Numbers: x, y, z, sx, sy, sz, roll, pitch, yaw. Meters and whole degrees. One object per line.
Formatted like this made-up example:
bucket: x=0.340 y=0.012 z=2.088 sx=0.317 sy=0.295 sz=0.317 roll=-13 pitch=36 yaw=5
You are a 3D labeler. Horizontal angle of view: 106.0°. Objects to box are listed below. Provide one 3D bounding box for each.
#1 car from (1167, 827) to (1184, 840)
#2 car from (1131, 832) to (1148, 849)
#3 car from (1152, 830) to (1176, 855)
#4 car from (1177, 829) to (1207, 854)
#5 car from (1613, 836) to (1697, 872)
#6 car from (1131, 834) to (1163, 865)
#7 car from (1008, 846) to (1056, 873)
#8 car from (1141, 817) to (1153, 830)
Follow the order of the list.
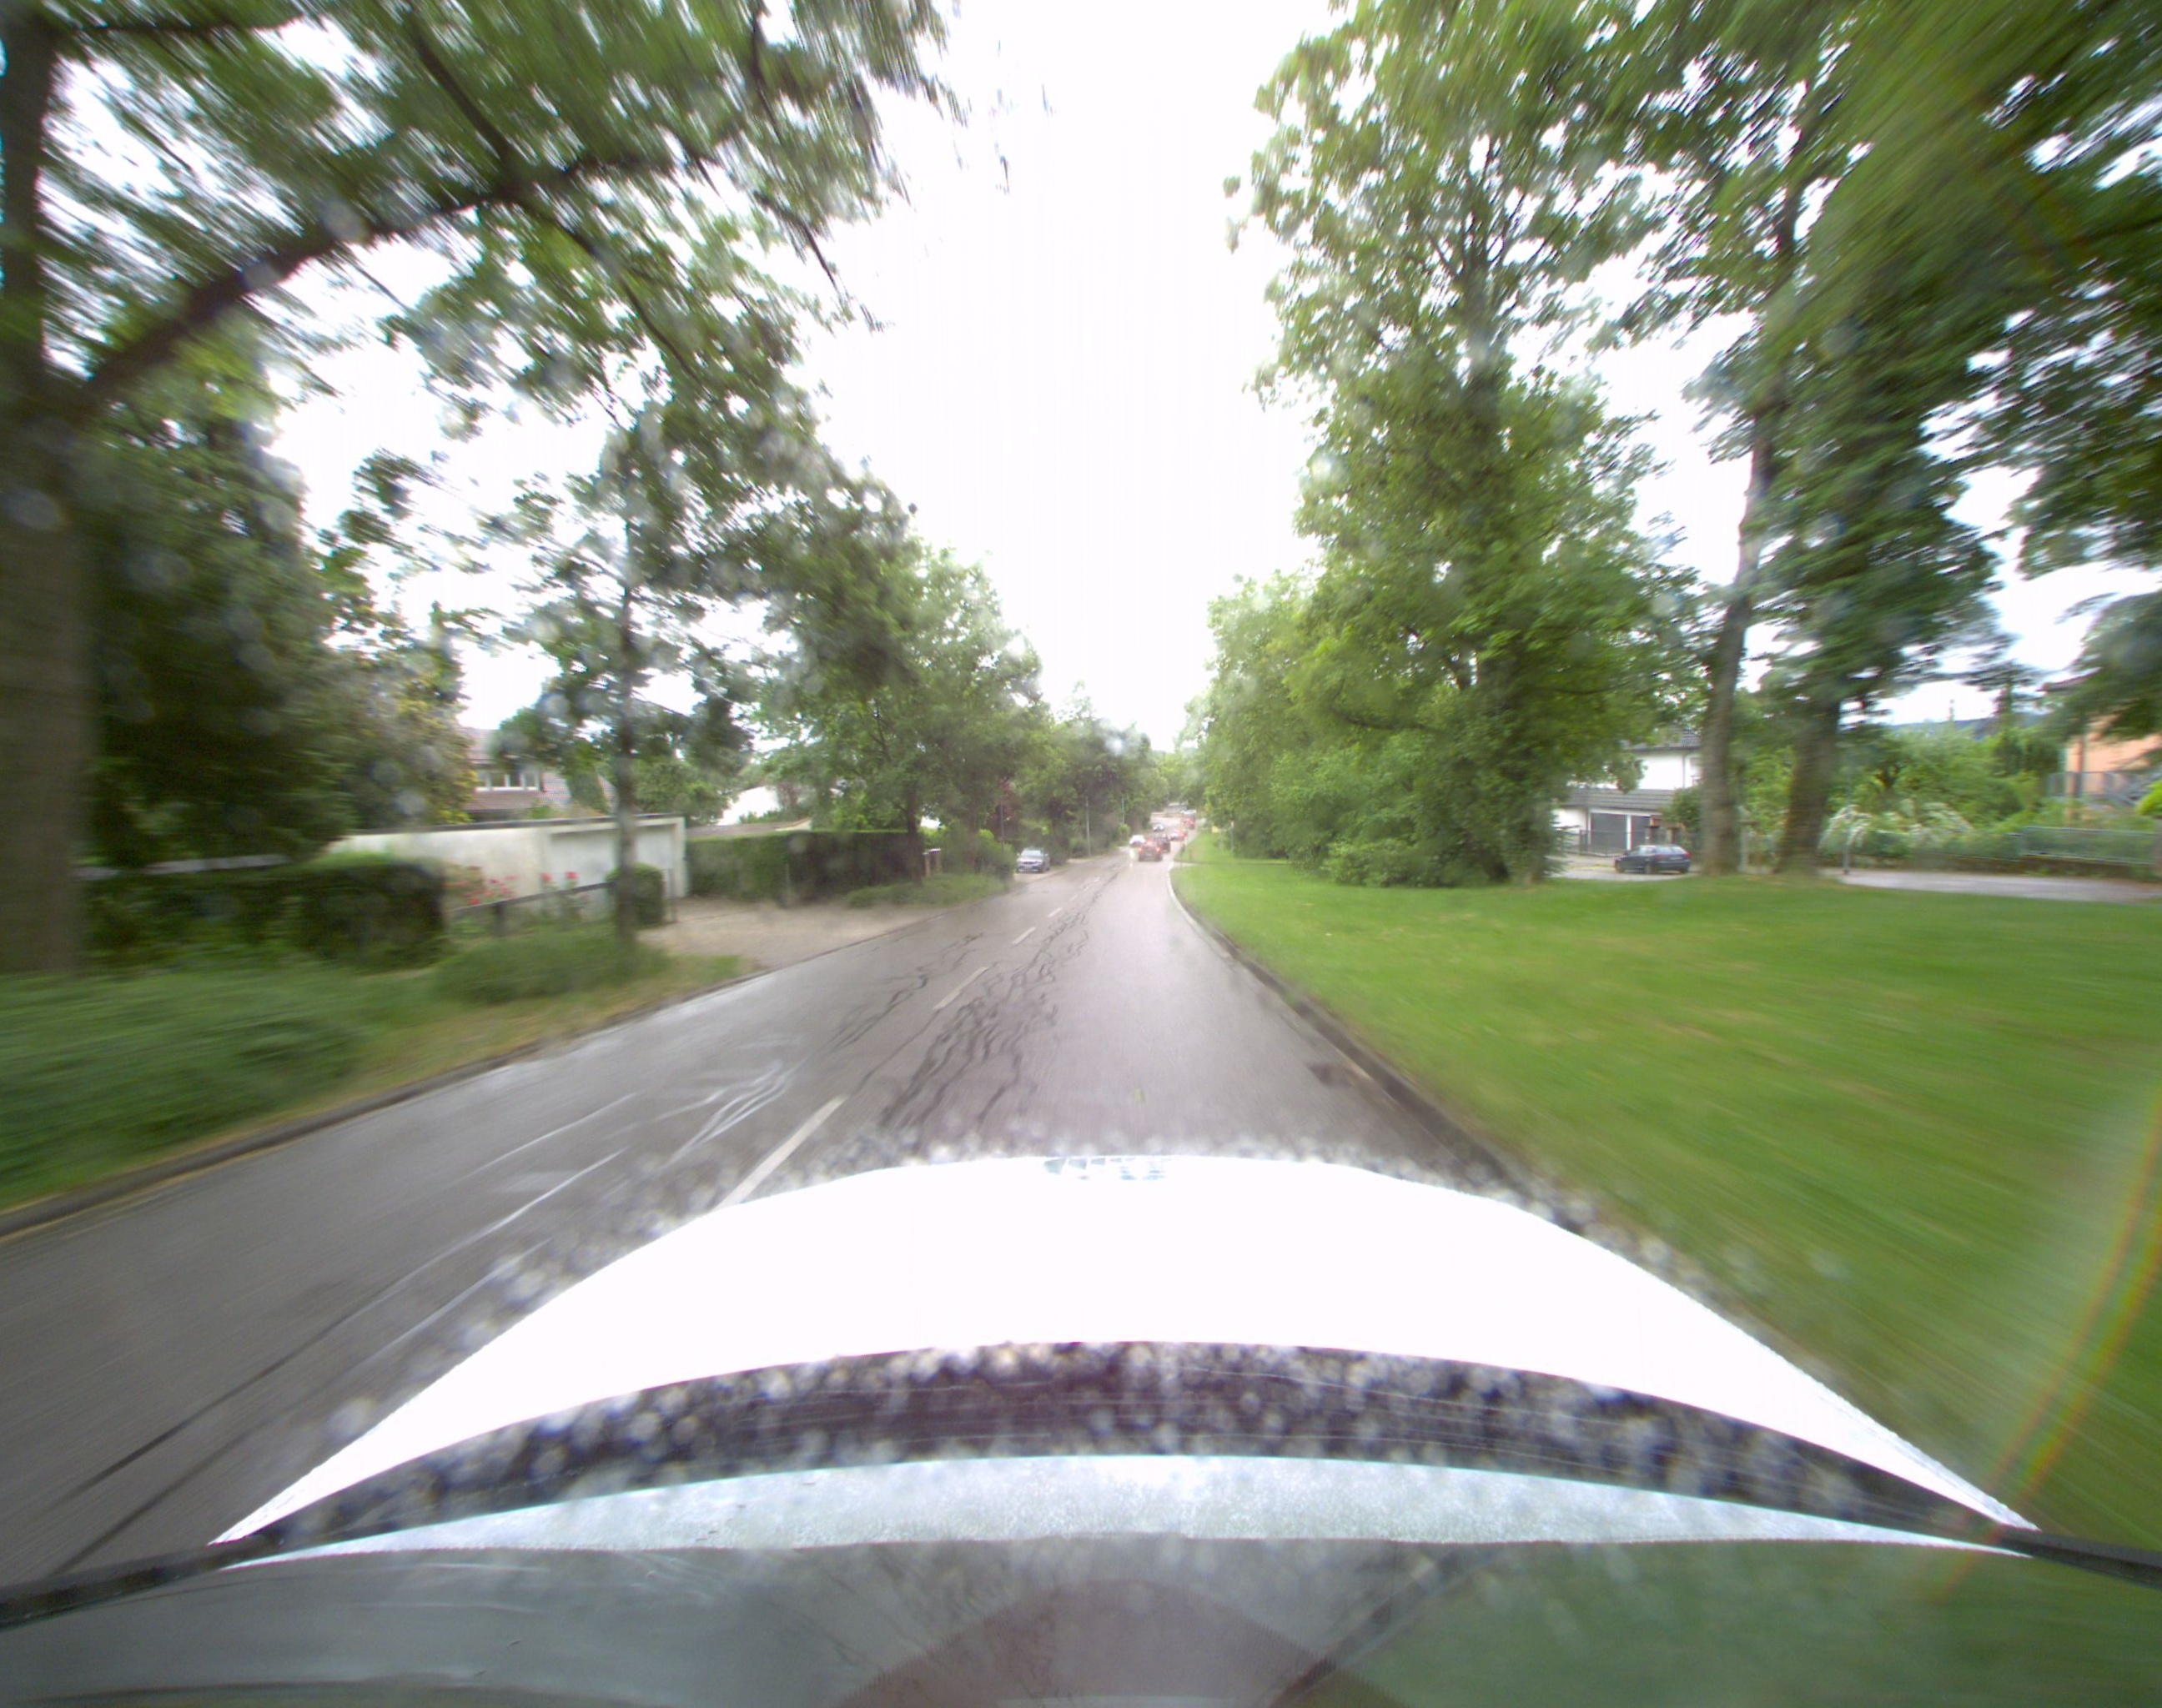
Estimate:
car: x=13.296 y=-2.928 z=115.017 sx=1.850 sy=1.691 sz=4.000 roll=-2 pitch=1 yaw=0
car: x=7.198 y=-1.629 z=99.381 sx=1.984 sy=1.654 sz=4.009 roll=-1 pitch=6 yaw=5
car: x=8.244 y=-1.161 z=81.112 sx=1.987 sy=2.012 sz=4.002 roll=-2 pitch=6 yaw=0
car: x=9.408 y=-1.090 z=69.487 sx=1.987 sy=2.013 sz=4.000 roll=-2 pitch=0 yaw=0
car: x=28.140 y=-0.021 z=40.099 sx=1.797 sy=1.631 sz=4.011 roll=-2 pitch=0 yaw=9
car: x=5.095 y=-0.384 z=63.522 sx=2.139 sy=2.012 sz=4.003 roll=-2 pitch=6 yaw=1
car: x=-3.043 y=0.333 z=51.468 sx=1.980 sy=1.598 sz=4.024 roll=-2 pitch=0 yaw=13
car: x=12.095 y=-5.649 z=148.736 sx=1.985 sy=2.012 sz=4.006 roll=-2 pitch=6 yaw=3
